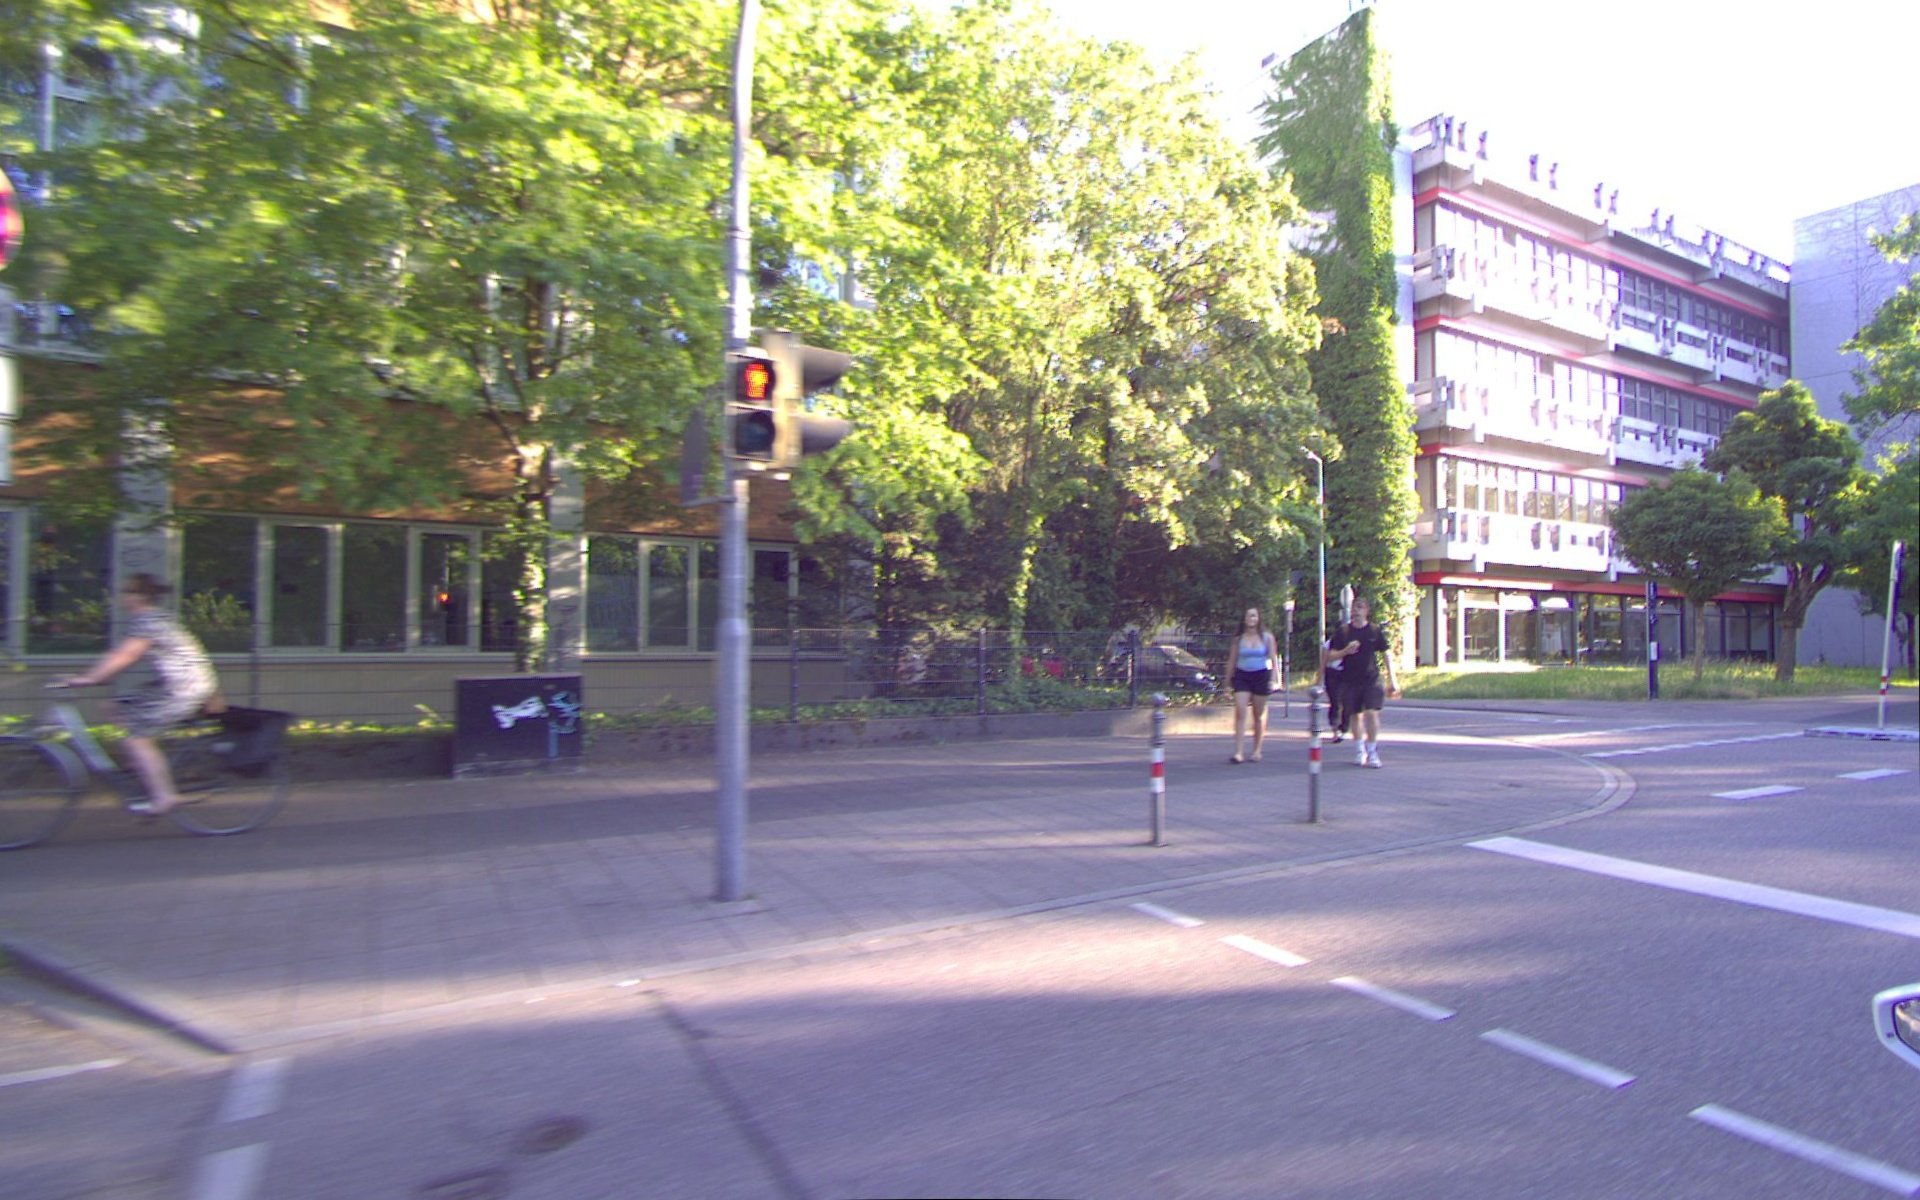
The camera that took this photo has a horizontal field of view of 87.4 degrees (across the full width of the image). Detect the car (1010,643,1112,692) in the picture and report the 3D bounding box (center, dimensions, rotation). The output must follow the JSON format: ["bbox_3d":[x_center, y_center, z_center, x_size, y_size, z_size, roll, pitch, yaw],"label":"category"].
[{"bbox_3d":[3.145,2.114,31.681,1.363,1.476,3.240,4,-4,-39],"label":"car"}]

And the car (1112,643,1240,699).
[{"bbox_3d":[6.109,1.998,28.606,1.671,1.476,3.239,4,-4,-39],"label":"car"}]

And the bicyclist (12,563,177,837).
[{"bbox_3d":[-5.499,0.603,6.429,0.699,1.624,0.671,1,-1,-34],"label":"bicyclist"}]

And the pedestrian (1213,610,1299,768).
[{"bbox_3d":[3.305,0.963,11.217,0.704,1.684,0.705,-2,-2,36],"label":"pedestrian"}]

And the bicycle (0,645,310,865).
[{"bbox_3d":[-5.471,0.939,6.442,2.169,1.265,0.682,1,-1,-34],"label":"bicycle"}]

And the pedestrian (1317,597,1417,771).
[{"bbox_3d":[4.609,0.920,11.358,0.809,1.847,0.954,-2,-2,36],"label":"pedestrian"}]

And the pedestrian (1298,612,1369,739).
[{"bbox_3d":[5.149,1.019,13.843,0.704,1.684,0.764,-2,-2,36],"label":"pedestrian"}]
